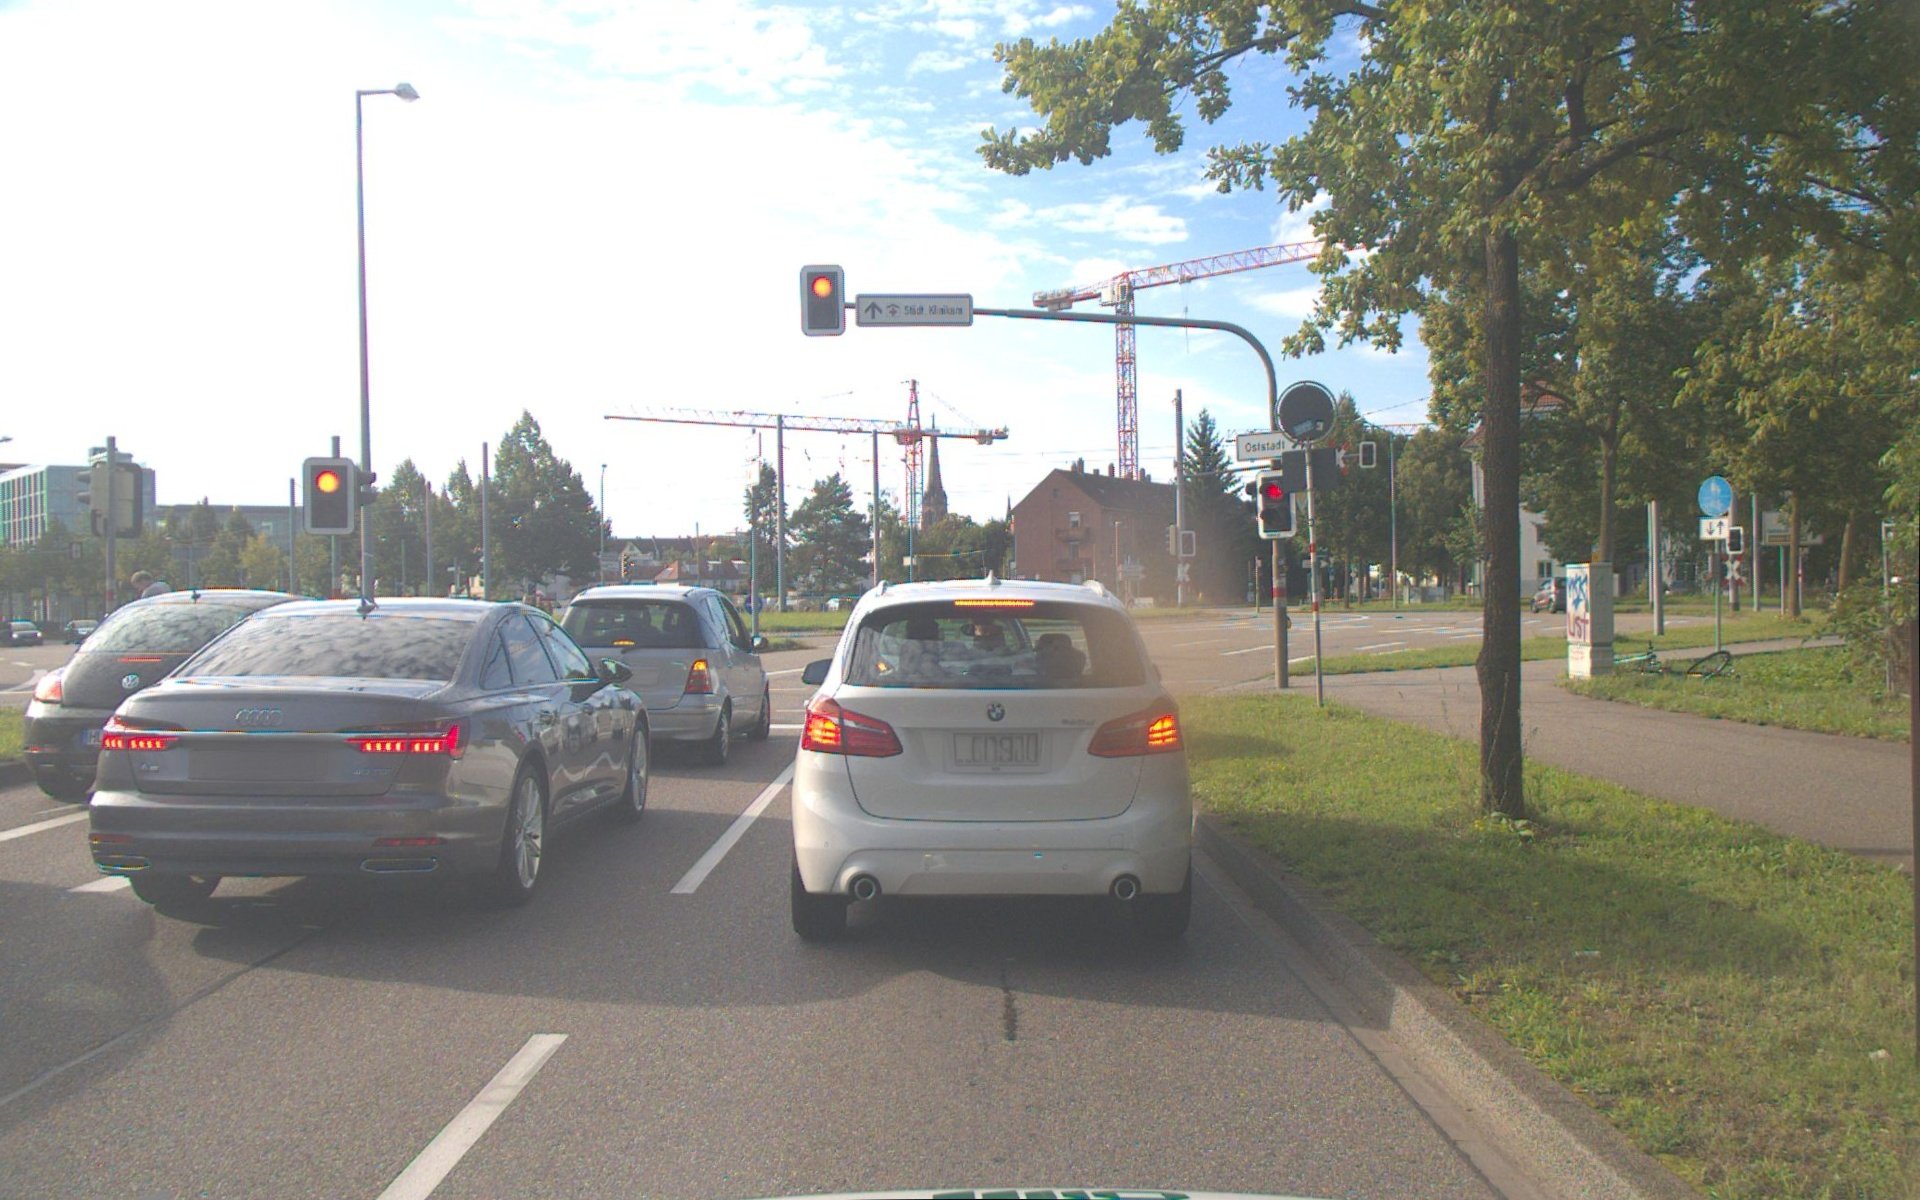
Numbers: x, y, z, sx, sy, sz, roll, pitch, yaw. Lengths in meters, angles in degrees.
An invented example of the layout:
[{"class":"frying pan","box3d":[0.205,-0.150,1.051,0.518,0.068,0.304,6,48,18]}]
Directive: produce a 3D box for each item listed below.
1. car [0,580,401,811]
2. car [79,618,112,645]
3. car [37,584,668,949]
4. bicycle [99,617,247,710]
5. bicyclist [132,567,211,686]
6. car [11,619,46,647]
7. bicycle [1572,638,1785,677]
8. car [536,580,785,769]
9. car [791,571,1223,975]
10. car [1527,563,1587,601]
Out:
[{"class":"car","box3d":[-5.864,0.643,13.082,1.646,1.549,3.809,0,0,-1]},{"class":"car","box3d":[-51.577,1.842,98.662,1.598,1.490,3.694,-1,1,-29]},{"class":"car","box3d":[-2.924,0.701,9.172,1.851,1.509,4.612,0,0,-1]},{"class":"bicycle","box3d":[-10.573,0.841,22.281,1.698,1.184,0.653,-1,0,-17]},{"class":"bicyclist","box3d":[-10.609,0.344,22.278,0.835,1.553,0.737,-1,0,-17]},{"class":"car","box3d":[-54.719,1.943,97.202,1.574,1.439,3.636,-3,-1,-28]},{"class":"bicycle","box3d":[9.505,0.751,22.037,1.382,0.392,2.569,-1,0,-12]},{"class":"car","box3d":[-2.738,0.624,15.976,1.694,1.585,4.057,0,0,-1]},{"class":"car","box3d":[0.154,0.676,8.541,1.694,1.585,4.057,0,0,-1]},{"class":"car","box3d":[26.050,-0.810,72.294,1.537,1.601,3.200,0,2,2]}]
